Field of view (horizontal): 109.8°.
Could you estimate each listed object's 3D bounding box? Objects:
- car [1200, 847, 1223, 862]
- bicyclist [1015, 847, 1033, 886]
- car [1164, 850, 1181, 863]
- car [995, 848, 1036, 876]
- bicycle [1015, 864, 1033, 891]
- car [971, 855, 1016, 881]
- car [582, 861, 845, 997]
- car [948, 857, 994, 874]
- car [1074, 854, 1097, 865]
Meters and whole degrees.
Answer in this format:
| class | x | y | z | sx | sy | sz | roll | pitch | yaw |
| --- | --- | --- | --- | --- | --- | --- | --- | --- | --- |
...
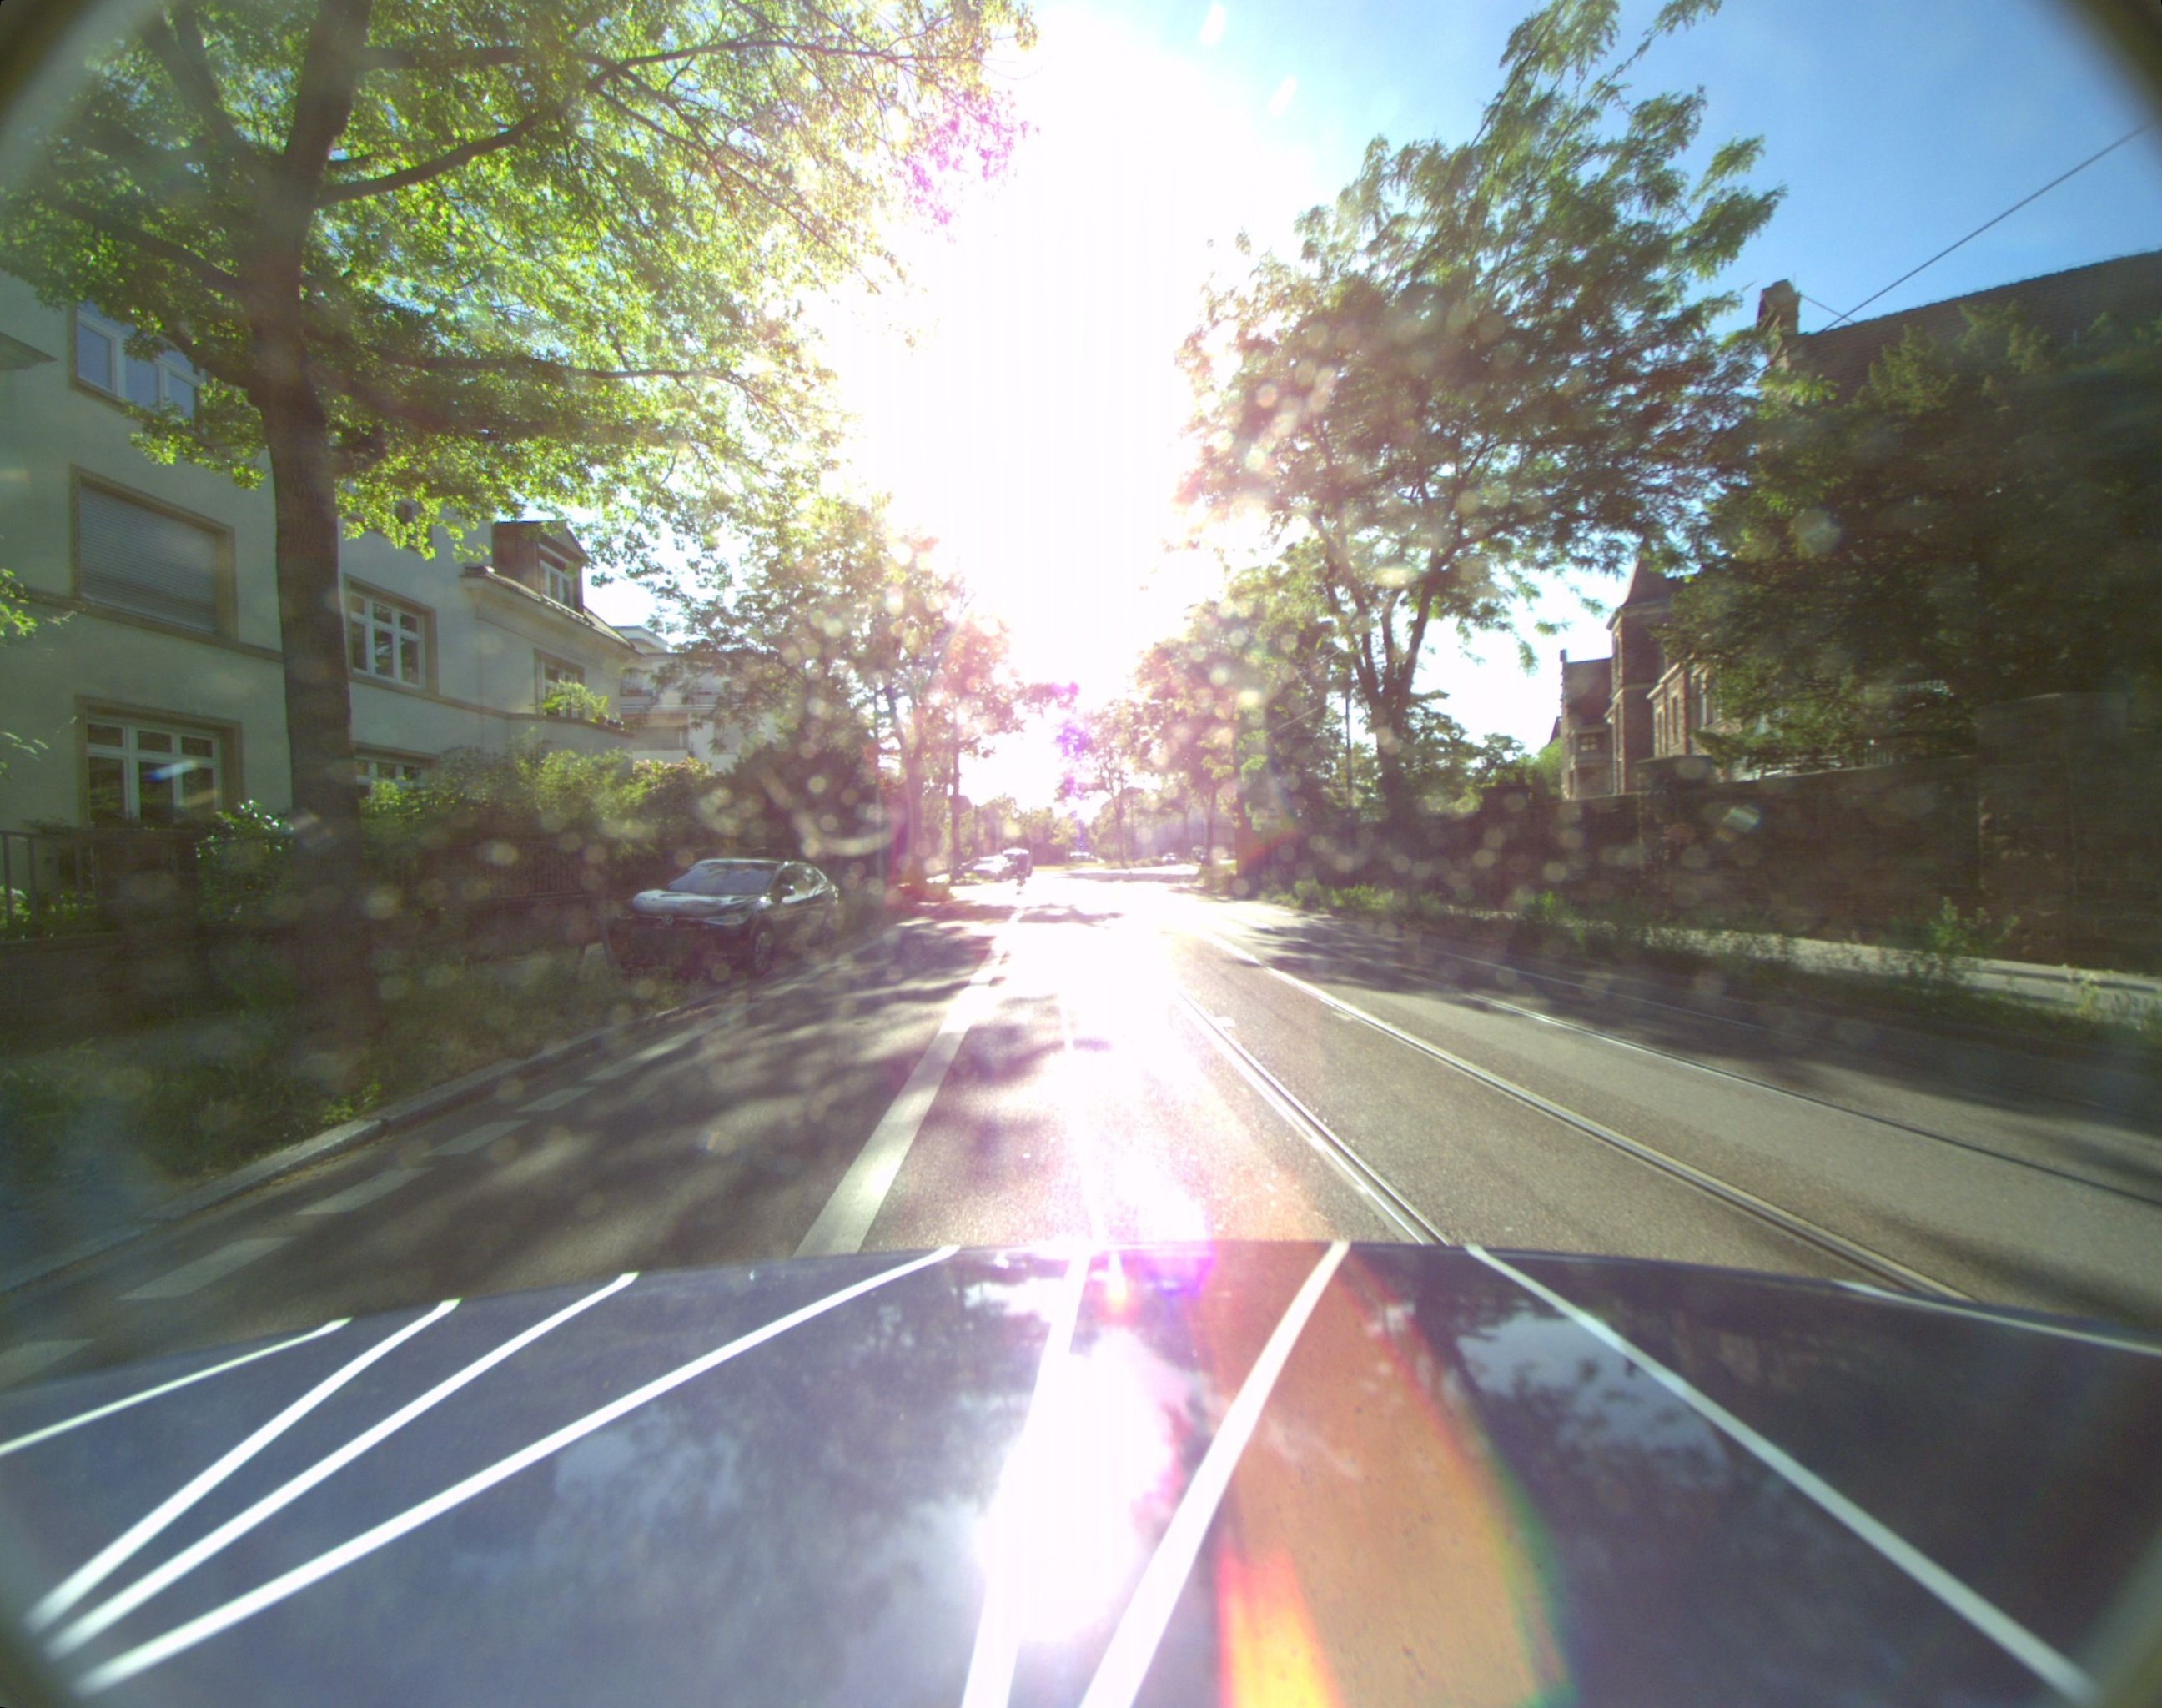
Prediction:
| class | x | y | z | sx | sy | sz | roll | pitch | yaw |
| --- | --- | --- | --- | --- | --- | --- | --- | --- | --- |
| car | 15.899 | 0.042 | 92.338 | 1.874 | 1.805 | 4.974 | -1 | 0 | 21 |
| bicyclist | -2.469 | 0.545 | 32.839 | 0.644 | 1.632 | 0.665 | -2 | 1 | 0 |
| car | 11.915 | 0.319 | 98.720 | 1.997 | 1.539 | 4.002 | -2 | 0 | 8 |
| car | -4.402 | 0.507 | 51.687 | 1.900 | 1.775 | 4.670 | -1 | 0 | 6 |
| bicycle | -2.448 | 0.990 | 32.896 | 0.588 | 1.105 | 1.855 | -2 | 0 | 1 |
| car | -5.164 | 0.795 | 45.332 | 1.901 | 1.402 | 4.260 | -1 | 0 | 4 |
| car | -5.197 | 0.948 | 11.506 | 1.919 | 1.590 | 4.258 | 2 | 0 | -1 |
| car | -10.042 | 1.047 | 69.537 | 3.998 | 1.433 | 1.813 | -2 | 0 | -3 |
| car | 0.752 | 0.922 | 128.788 | 3.908 | 1.683 | 1.905 | -1 | 0 | -1 |
